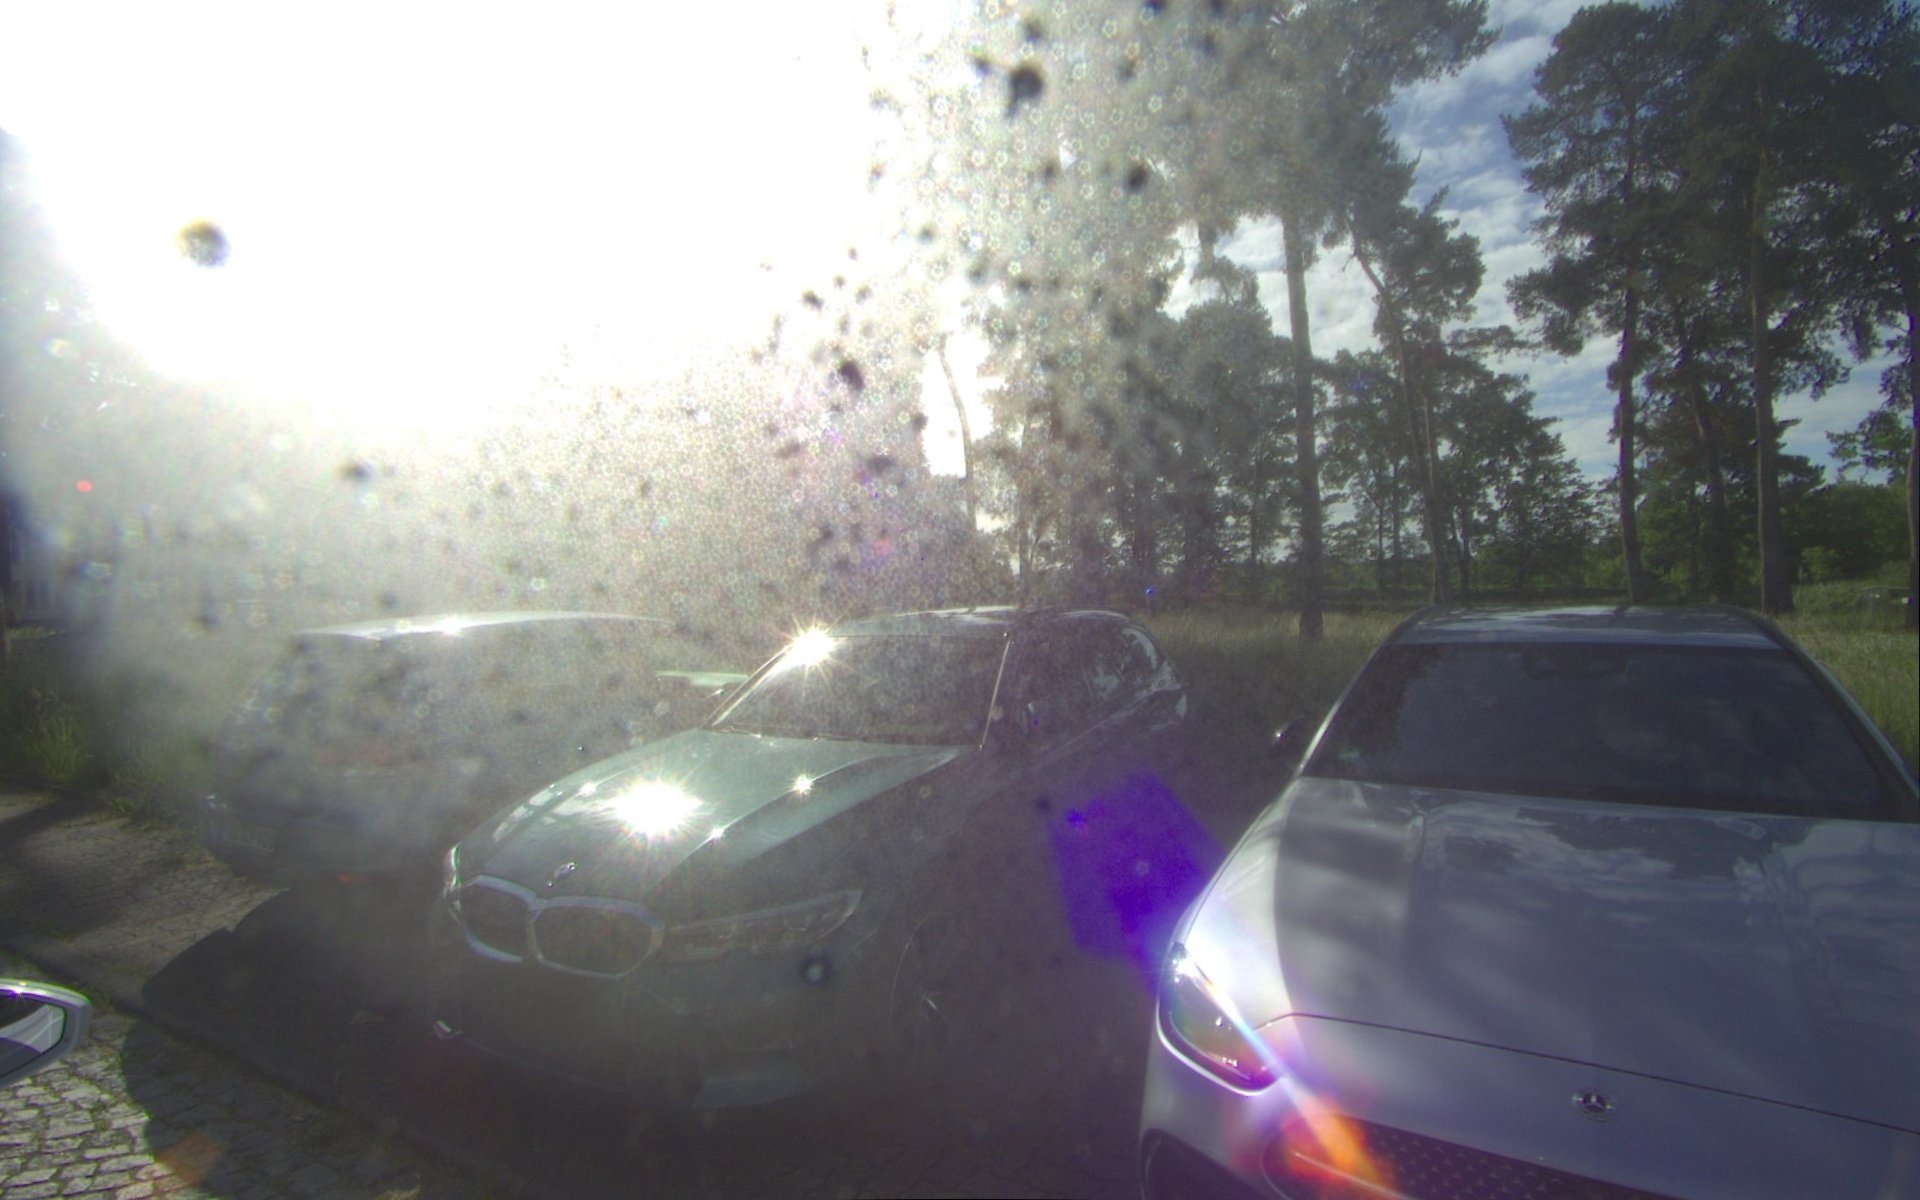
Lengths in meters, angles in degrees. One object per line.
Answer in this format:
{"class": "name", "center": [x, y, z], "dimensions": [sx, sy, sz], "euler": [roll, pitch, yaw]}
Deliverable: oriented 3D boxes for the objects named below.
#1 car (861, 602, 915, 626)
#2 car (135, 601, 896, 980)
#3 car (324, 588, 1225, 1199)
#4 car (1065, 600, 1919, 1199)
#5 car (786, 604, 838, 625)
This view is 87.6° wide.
{"class": "car", "center": [-4.914, 0.939, 68.837], "dimensions": [1.827, 1.620, 3.983], "euler": [0, 0, 28]}
{"class": "car", "center": [-2.304, 0.785, 6.262], "dimensions": [1.843, 1.480, 4.008], "euler": [0, 1, 31]}
{"class": "car", "center": [-0.175, 0.748, 4.767], "dimensions": [1.798, 1.537, 4.489], "euler": [0, 1, 28]}
{"class": "car", "center": [2.102, 0.784, 3.430], "dimensions": [1.799, 1.421, 4.402], "euler": [0, 2, 31]}
{"class": "car", "center": [-10.805, 1.024, 73.328], "dimensions": [1.818, 1.483, 3.983], "euler": [0, 0, 28]}
